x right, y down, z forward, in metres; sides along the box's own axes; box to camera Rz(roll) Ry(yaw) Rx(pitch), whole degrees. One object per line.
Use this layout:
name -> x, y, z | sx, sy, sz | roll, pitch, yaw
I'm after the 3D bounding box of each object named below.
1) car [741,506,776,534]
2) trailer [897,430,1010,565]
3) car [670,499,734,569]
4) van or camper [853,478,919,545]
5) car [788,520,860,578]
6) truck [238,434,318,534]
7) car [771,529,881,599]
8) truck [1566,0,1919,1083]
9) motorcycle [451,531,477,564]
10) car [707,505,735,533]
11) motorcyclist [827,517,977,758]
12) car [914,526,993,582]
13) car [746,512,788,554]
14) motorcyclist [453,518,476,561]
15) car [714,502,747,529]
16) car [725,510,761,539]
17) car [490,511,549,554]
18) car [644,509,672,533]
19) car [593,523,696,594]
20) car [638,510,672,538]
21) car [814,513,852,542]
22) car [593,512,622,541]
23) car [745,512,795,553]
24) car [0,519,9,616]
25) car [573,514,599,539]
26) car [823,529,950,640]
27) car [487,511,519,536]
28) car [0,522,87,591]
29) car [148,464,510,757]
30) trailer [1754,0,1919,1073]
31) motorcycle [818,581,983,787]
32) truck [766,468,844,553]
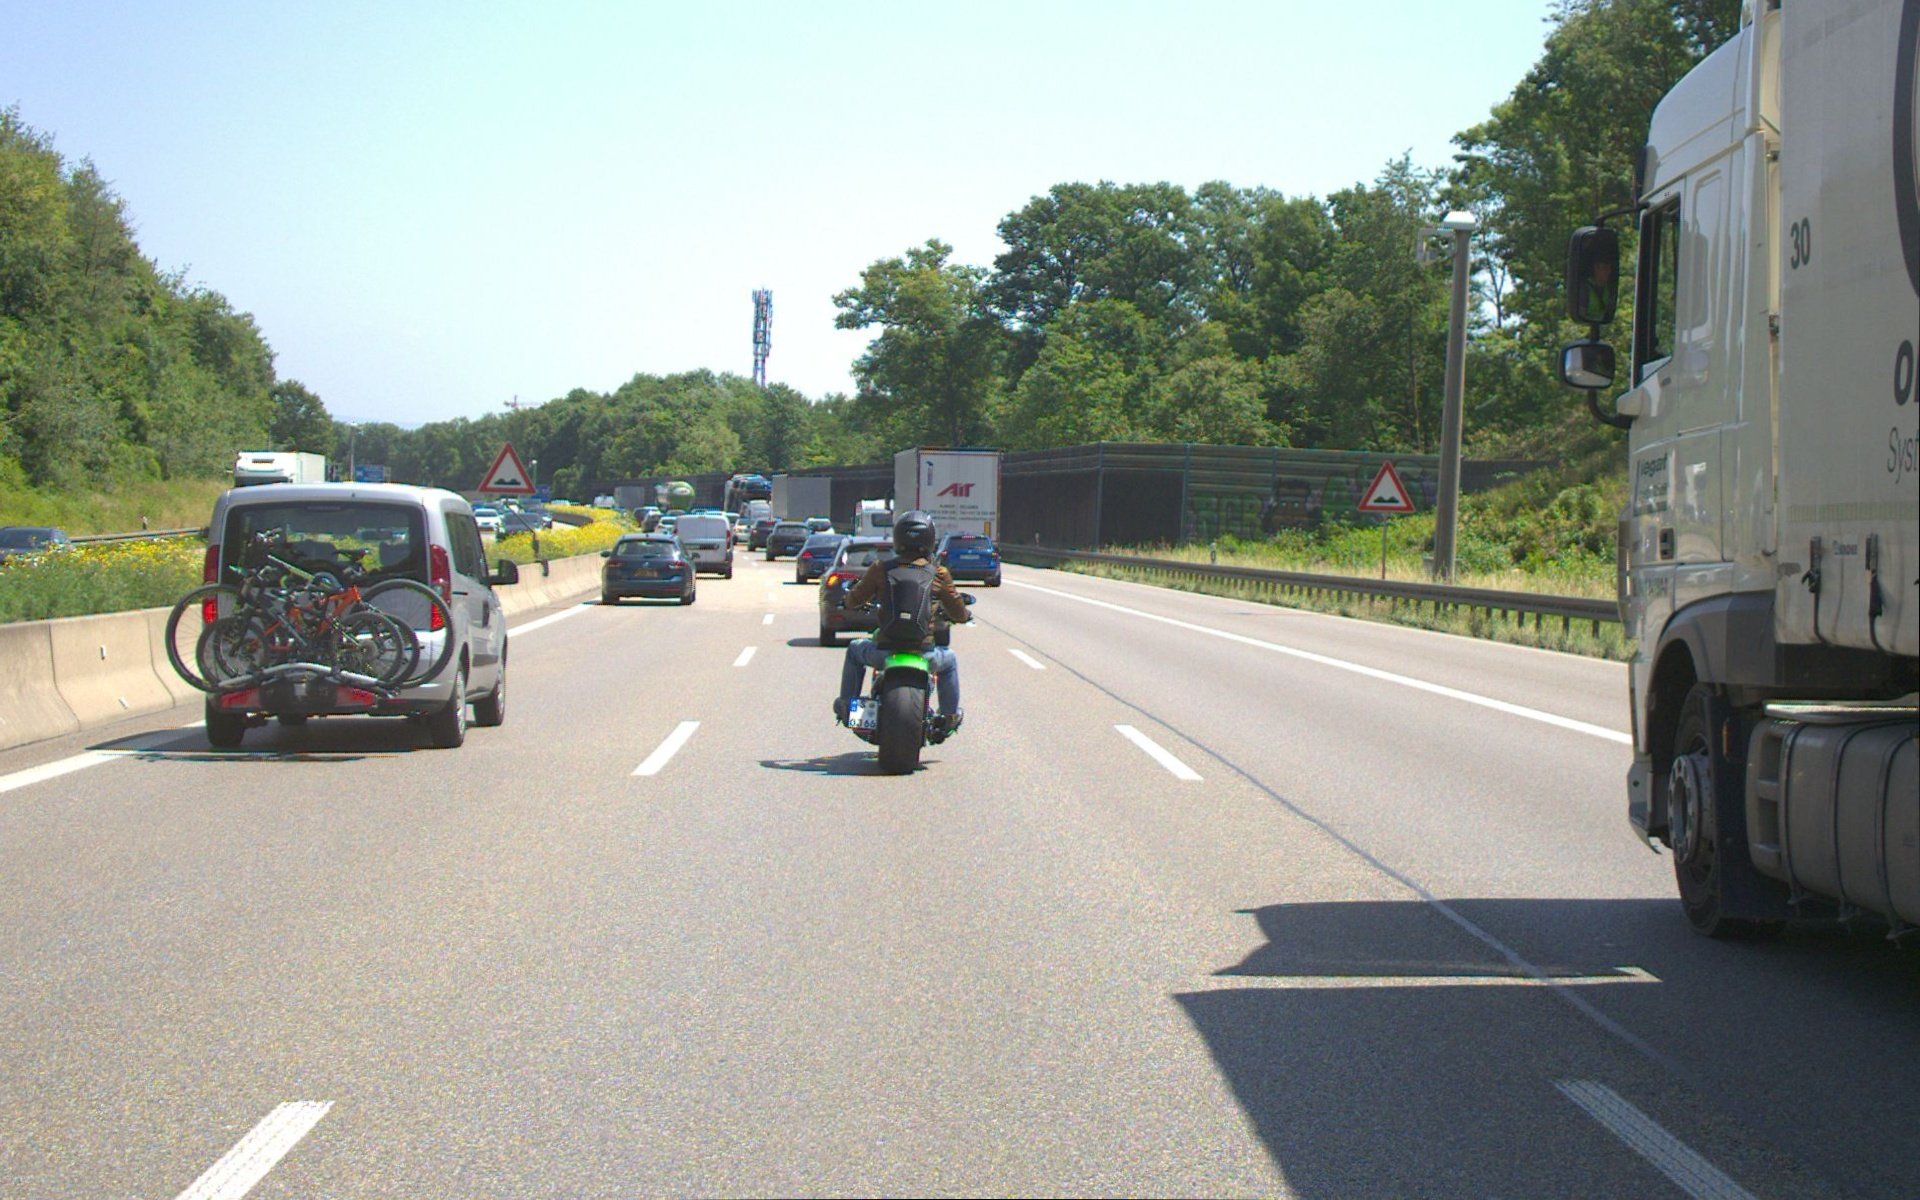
car -> -13.956, -5.518, 237.639 | 2.107, 1.870, 4.001 | 1, 1, -7
trailer -> -0.325, -3.295, 110.879 | 2.885, 4.024, 13.797 | 1, 2, -3
car -> -7.584, -1.930, 101.189 | 1.791, 2.007, 3.643 | 1, 1, -4
van or camper -> -3.309, -3.873, 151.910 | 2.685, 2.803, 6.804 | 1, 1, -3
car -> -3.752, -1.392, 94.425 | 1.779, 1.547, 3.585 | 1, 1, -5
truck -> -29.032, -4.896, 146.480 | 2.689, 4.076, 5.204 | 1, 0, -4
car -> -2.892, -0.766, 73.493 | 1.993, 1.425, 3.848 | 1, 1, -8
truck -> 4.094, -0.797, 11.879 | 2.786, 4.190, 5.870 | 1, 2, -1
motorcycle -> -15.620, -1.654, 108.333 | 0.623, 1.029, 1.467 | 1, 1, -2
car -> -15.750, -5.316, 226.062 | 1.725, 1.738, 3.866 | 1, 1, -5
motorcyclist -> -0.363, 0.223, 22.070 | 0.899, 1.470, 1.872 | 1, 0, 0
car -> -0.207, -1.271, 95.078 | 1.650, 1.477, 4.483 | 1, 1, -7
car -> -9.519, -3.282, 168.976 | 1.911, 2.007, 3.691 | 1, 1, -5
motorcyclist -> -15.617, -1.905, 108.285 | 0.623, 1.329, 0.577 | 1, 1, -1
car -> -16.245, -5.964, 243.222 | 2.107, 1.870, 4.001 | 1, 1, -7
car -> -11.980, -4.142, 189.313 | 1.832, 1.491, 3.744 | 1, 1, -6
car -> -17.822, -2.753, 139.334 | 1.993, 1.672, 4.081 | 1, 1, -2
car -> -20.342, -5.313, 231.461 | 1.832, 1.491, 3.744 | 1, 1, -6
car -> -6.387, -0.843, 69.889 | 1.993, 1.382, 4.001 | 1, 1, -4
car -> -17.143, -4.253, 193.267 | 1.832, 1.491, 3.744 | 1, 1, -6
car -> -7.240, -4.141, 196.202 | 1.993, 1.568, 4.001 | 1, 1, -4
car -> -22.614, -4.711, 220.783 | 1.780, 1.816, 3.907 | 1, 1, -5
car -> -7.754, -2.743, 140.822 | 1.993, 1.634, 4.000 | 1, 1, -3
car -> -15.692, -0.493, 51.929 | 1.671, 1.503, 3.829 | 1, 1, -2
car -> -28.356, -5.565, 260.815 | 1.835, 1.842, 3.778 | 1, 1, -5
car -> -1.034, -0.220, 47.321 | 1.662, 1.448, 3.869 | 1, 1, -2
car -> -26.864, -4.494, 201.996 | 1.622, 1.381, 4.139 | 1, 1, -4
car -> -21.331, -1.018, 78.408 | 1.993, 1.503, 4.001 | 0, 2, -3
car -> -4.362, 0.044, 24.400 | 1.899, 1.867, 4.413 | 1, 1, -2
trailer -> 4.171, -0.573, 4.820 | 2.786, 4.190, 13.245 | 1, 2, -1
motorcycle -> -0.371, 0.495, 22.035 | 0.964, 1.144, 2.812 | 1, 2, -1
truck -> -9.445, -5.355, 208.030 | 3.802, 4.942, 8.953 | 1, 1, -8
